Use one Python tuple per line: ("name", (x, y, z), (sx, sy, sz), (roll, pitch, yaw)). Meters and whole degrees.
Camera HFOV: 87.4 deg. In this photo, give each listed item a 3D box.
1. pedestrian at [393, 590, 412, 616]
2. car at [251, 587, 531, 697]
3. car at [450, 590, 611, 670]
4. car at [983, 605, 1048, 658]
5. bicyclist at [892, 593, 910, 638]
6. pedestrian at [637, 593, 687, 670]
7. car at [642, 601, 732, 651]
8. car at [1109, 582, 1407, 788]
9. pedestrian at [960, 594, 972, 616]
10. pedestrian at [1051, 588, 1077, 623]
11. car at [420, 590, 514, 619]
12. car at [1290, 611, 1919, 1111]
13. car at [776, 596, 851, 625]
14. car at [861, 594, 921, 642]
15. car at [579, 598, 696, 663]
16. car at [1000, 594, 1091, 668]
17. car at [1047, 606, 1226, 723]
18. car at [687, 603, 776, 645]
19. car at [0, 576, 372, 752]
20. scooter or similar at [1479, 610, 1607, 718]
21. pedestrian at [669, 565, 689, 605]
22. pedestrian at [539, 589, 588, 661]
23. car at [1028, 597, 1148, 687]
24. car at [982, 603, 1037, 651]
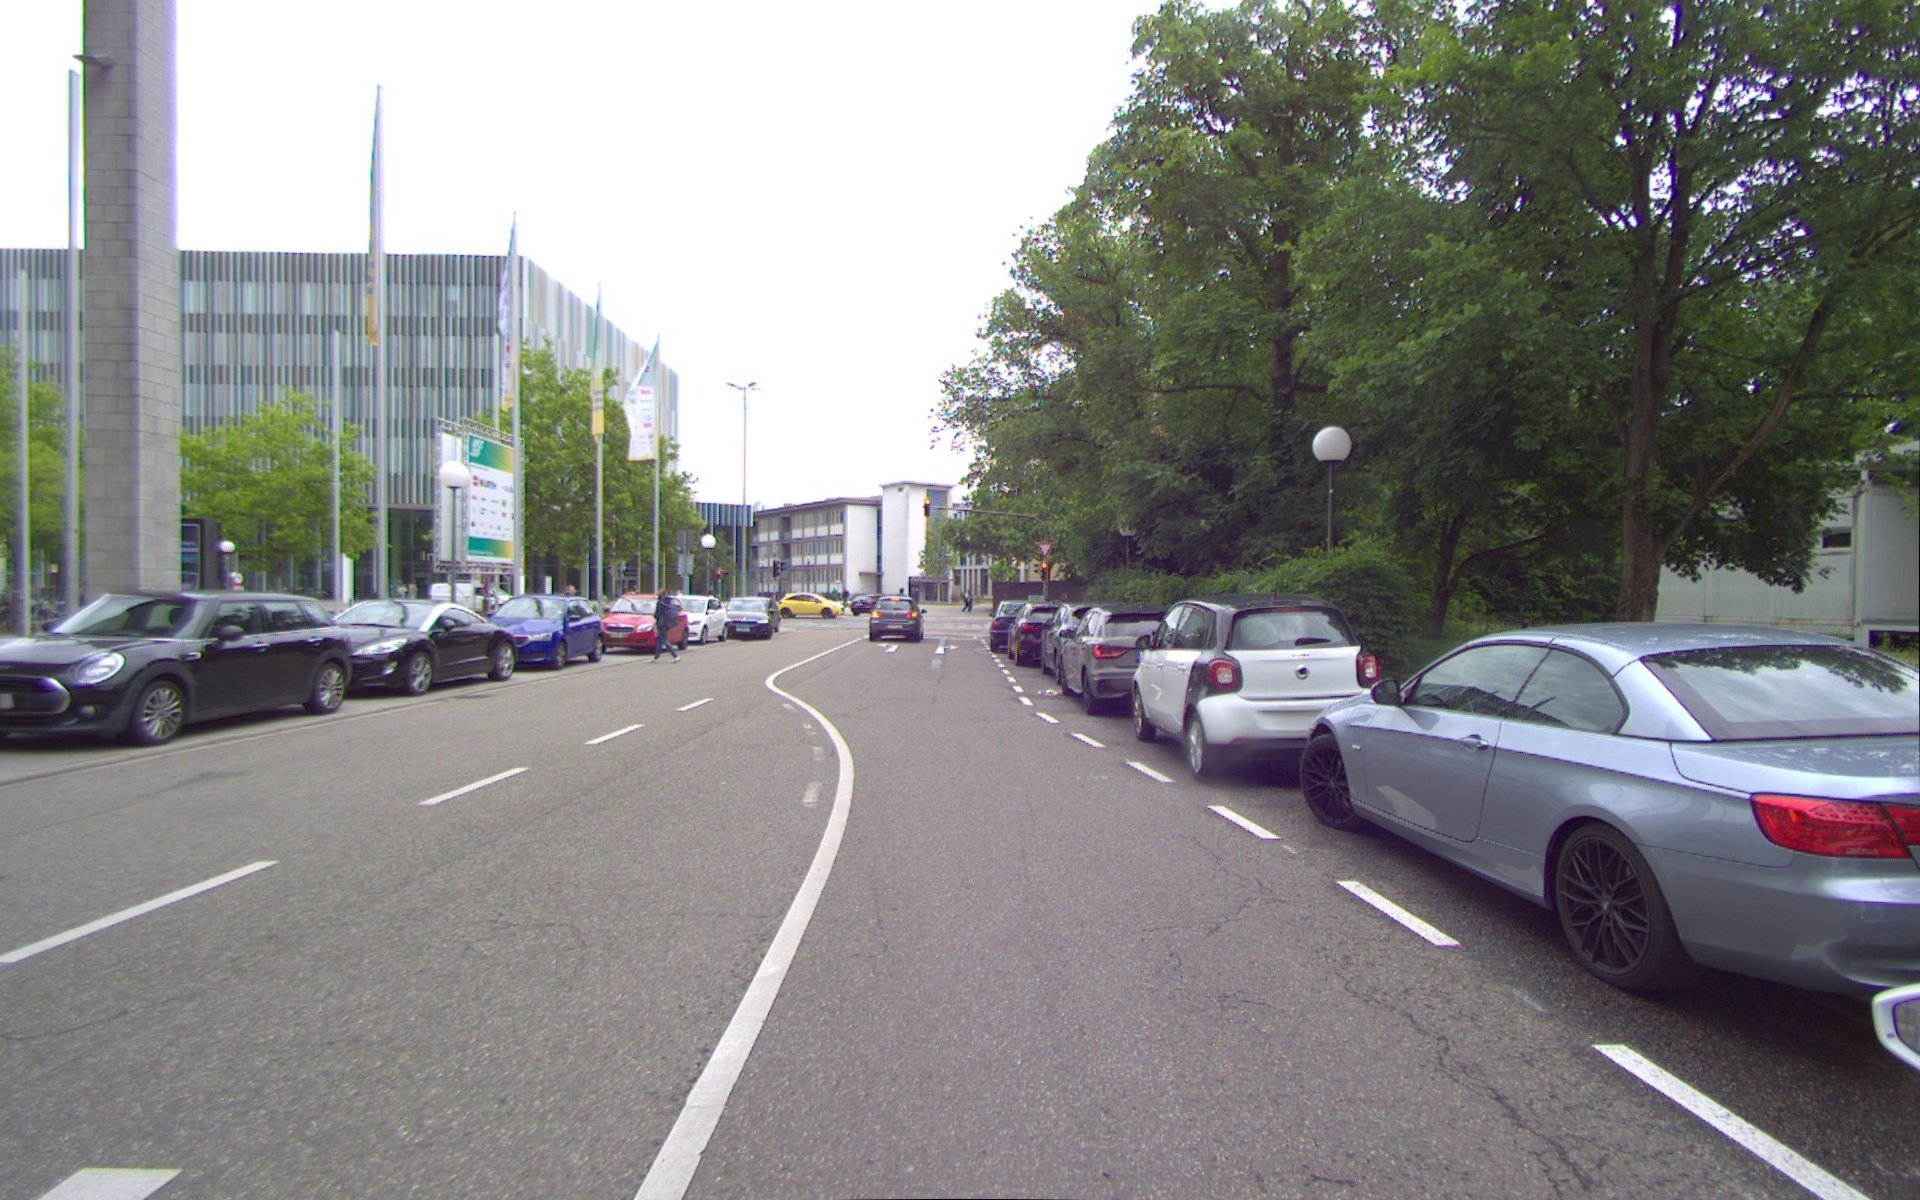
("pedestrian", (-44.823, 0.234, 80.790), (0.981, 2.040, 0.856), (-1, -2, 8))
("car", (-8.593, 0.608, 15.716), (1.817, 1.461, 4.419), (0, -1, 1))
("car", (-8.761, 0.539, 20.894), (1.668, 1.430, 4.374), (1, 1, -4))
("car", (1.643, 0.875, 29.906), (1.767, 1.427, 4.338), (1, 0, 3))
("bicyclist", (-2.421, 0.612, 40.991), (0.647, 1.803, 0.982), (1, 1, -8))
("pedestrian", (-6.728, 0.696, 22.708), (0.726, 1.684, 0.968), (1, 0, 5))
("car", (-8.589, 0.777, 31.949), (1.830, 1.472, 3.858), (1, 0, 0))
("car", (2.621, 0.677, 9.787), (1.688, 1.607, 3.877), (0, 0, -1))
("pedestrian", (0.470, 0.411, 76.968), (0.614, 1.688, 0.616), (-1, 1, -44))
("pedestrian", (4.912, 0.244, 47.411), (1.030, 1.641, 0.654), (0, 1, -25))
("car", (-29.869, 0.258, 60.964), (4.746, 1.685, 1.999), (0, 0, -3))
("car", (3.339, 0.790, 5.083), (1.788, 1.407, 4.192), (0, 0, -3))
("car", (-8.700, 0.633, 59.852), (4.110, 1.639, 2.000), (1, 0, 2))
("car", (-2.309, 0.574, 34.462), (1.753, 1.517, 4.167), (1, 1, -1))
("car", (-8.397, 0.747, 26.526), (1.684, 1.493, 4.273), (3, 0, 0))
("car", (1.968, 0.697, 24.301), (1.768, 1.582, 4.530), (1, 0, -1))
("car", (2.358, 0.811, 14.421), (1.734, 1.430, 4.007), (0, 0, -2))
("car", (-8.440, 0.832, 36.838), (1.846, 1.420, 4.439), (0, 0, -32))
("car", (-8.542, 0.524, 10.825), (1.788, 1.462, 4.519), (2, 0, -1))
("scooter or similar", (7.082, 0.747, 12.238), (1.287, 1.226, 0.448), (0, 1, 41))
("pedestrian", (-12.139, -0.644, 43.367), (0.647, 1.738, 0.583), (0, 0, 38))
("pedestrian", (-9.427, 0.596, 23.924), (0.722, 1.662, 0.932), (-1, -2, 8))
("car", (2.314, 0.713, 19.050), (1.733, 1.491, 3.824), (1, 1, -1))
("car", (1.662, 0.880, 34.990), (1.768, 1.489, 4.248), (1, 1, 1))
